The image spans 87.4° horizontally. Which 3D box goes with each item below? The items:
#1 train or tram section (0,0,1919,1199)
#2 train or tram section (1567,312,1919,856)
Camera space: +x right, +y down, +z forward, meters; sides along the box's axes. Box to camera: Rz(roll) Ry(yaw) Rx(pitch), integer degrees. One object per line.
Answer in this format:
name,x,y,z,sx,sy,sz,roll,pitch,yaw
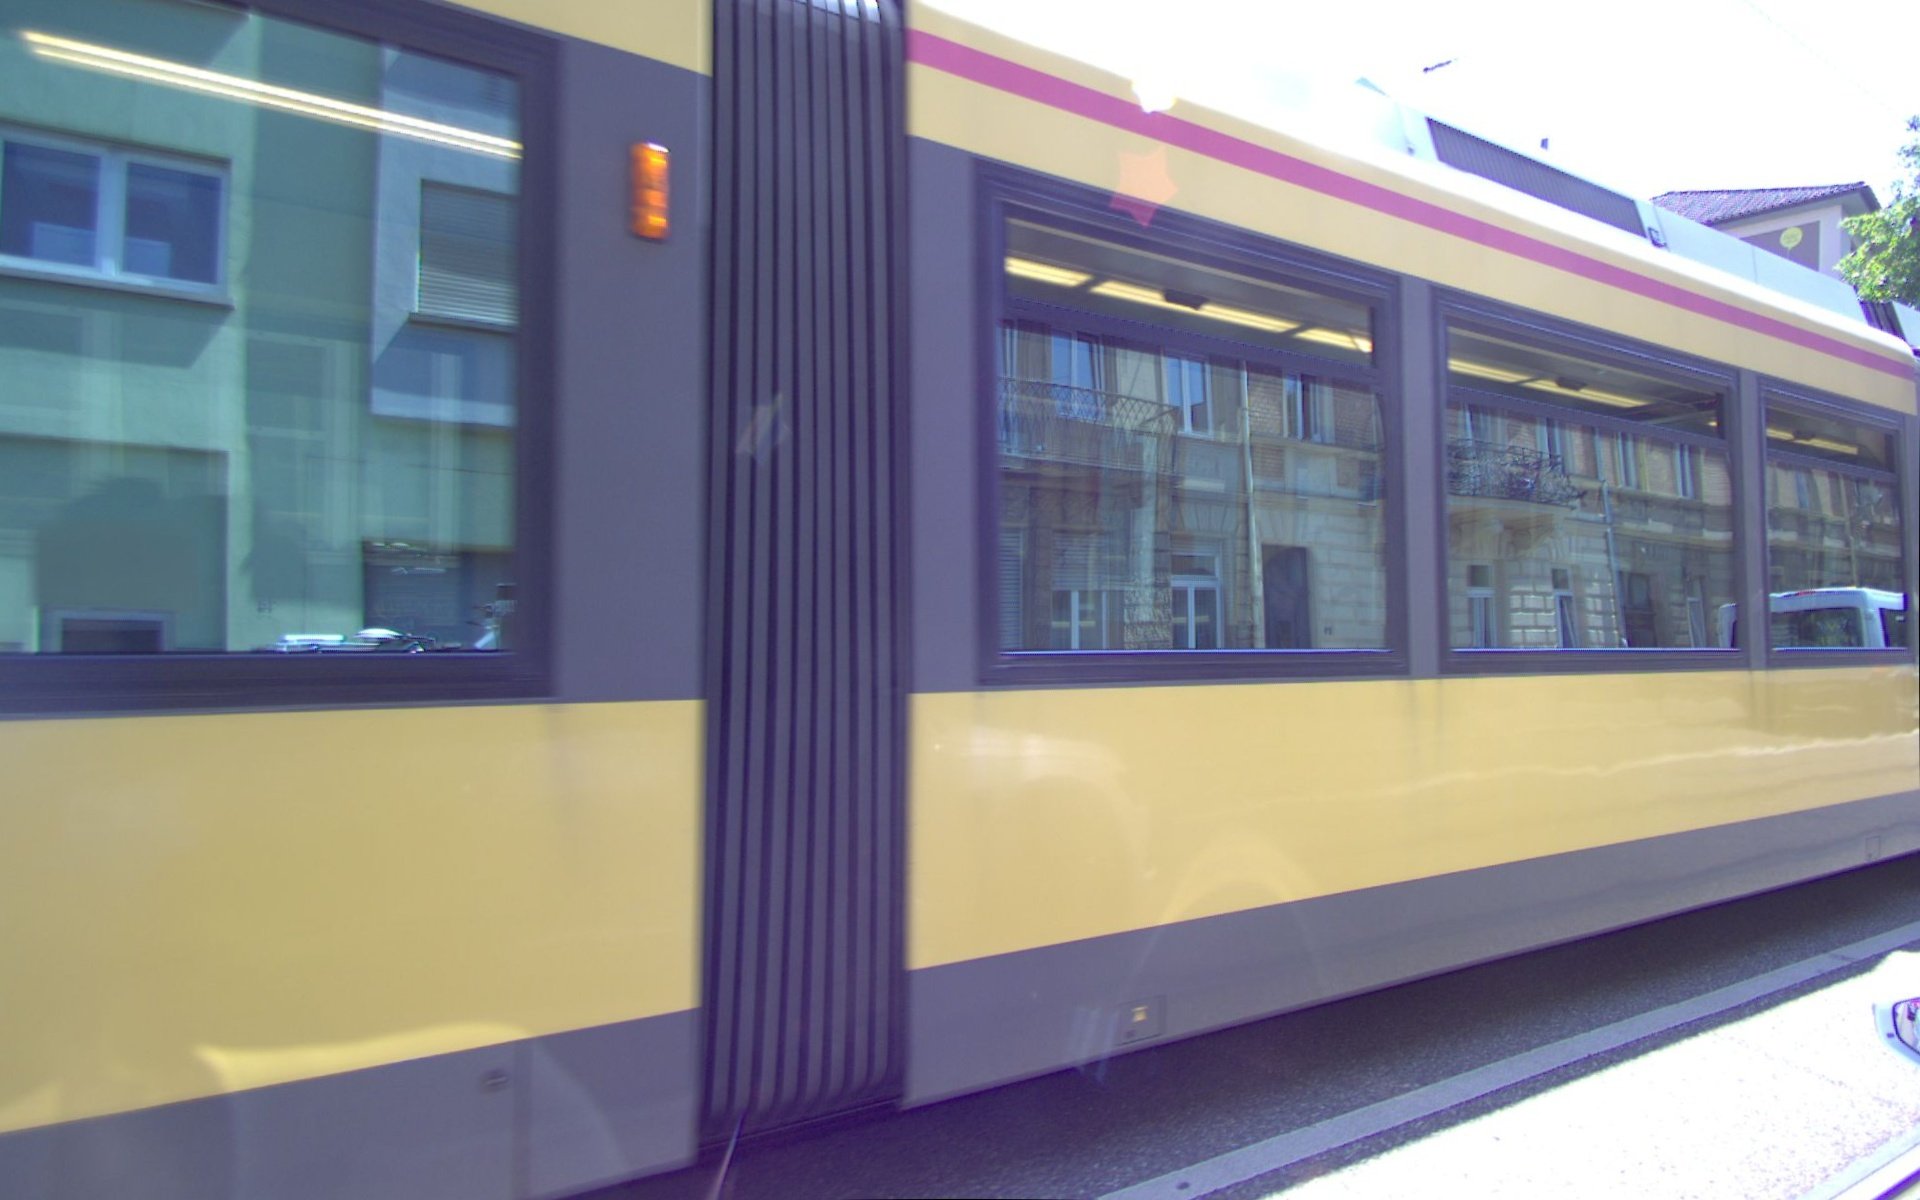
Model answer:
train or tram section,2.936,-0.231,5.627,13.263,3.628,2.947,1,0,-30
train or tram section,11.748,0.020,10.727,13.263,3.628,2.947,1,0,-30
